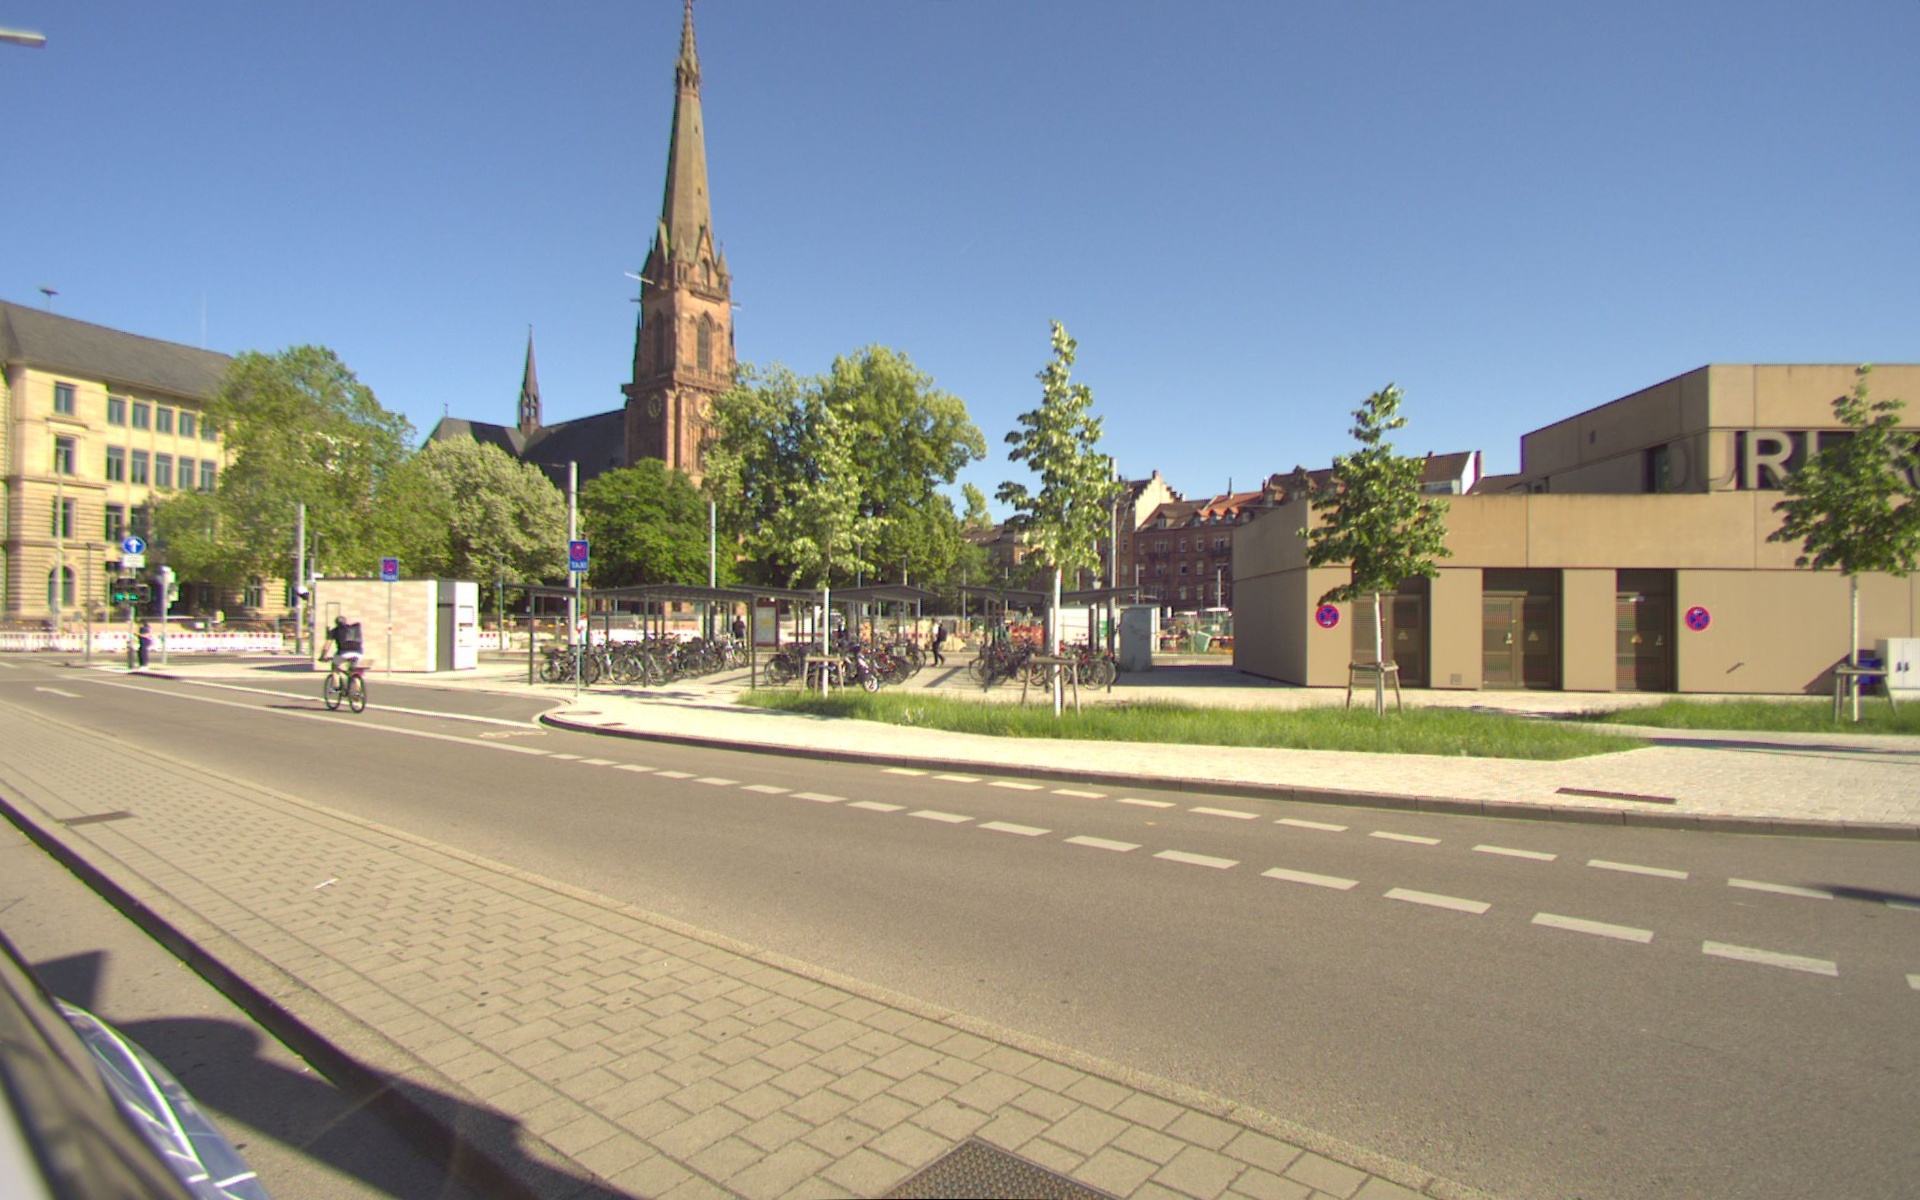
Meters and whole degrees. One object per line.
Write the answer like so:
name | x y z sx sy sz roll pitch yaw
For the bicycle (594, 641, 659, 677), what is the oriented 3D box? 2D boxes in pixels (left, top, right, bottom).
bicycle | -10.069 1.793 30.614 1.764 1.046 0.567 1 -2 3

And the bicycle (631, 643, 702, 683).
bicycle | -8.047 1.730 27.770 1.764 1.046 0.567 1 -2 3

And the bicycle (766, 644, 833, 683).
bicycle | -4.449 1.753 28.090 1.764 1.046 0.567 1 -2 3

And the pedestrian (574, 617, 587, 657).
pedestrian | -17.021 1.674 45.418 0.529 1.736 0.684 -1 -6 -20

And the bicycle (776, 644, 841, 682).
bicycle | -4.382 1.821 29.377 1.764 1.046 0.567 1 -2 3

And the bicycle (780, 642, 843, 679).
bicycle | -4.387 1.795 29.978 1.764 1.046 0.567 1 -2 3

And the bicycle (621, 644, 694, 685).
bicycle | -8.099 1.722 27.159 1.764 1.046 0.567 1 -2 3

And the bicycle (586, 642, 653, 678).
bicycle | -10.077 1.769 29.949 1.764 1.046 0.567 1 -2 3

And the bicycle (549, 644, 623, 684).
bicycle | -10.117 1.719 27.395 1.764 1.046 0.567 1 -2 3

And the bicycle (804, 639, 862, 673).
bicycle | -4.124 1.819 32.938 1.764 1.046 0.567 1 -2 3

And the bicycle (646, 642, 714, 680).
bicycle | -8.003 1.730 28.987 1.764 1.046 0.567 1 -2 3

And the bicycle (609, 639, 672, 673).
bicycle | -10.037 1.752 31.816 1.764 1.046 0.567 1 -2 3

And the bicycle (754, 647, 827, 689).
bicycle | -4.381 1.749 26.215 1.764 1.046 0.567 1 -2 3

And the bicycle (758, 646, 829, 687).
bicycle | -4.392 1.746 26.801 1.764 1.046 0.567 1 -2 3

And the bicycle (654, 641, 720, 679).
bicycle | -7.983 1.746 29.588 1.764 1.046 0.567 1 -2 3

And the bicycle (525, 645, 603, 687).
bicycle | -10.162 1.692 25.987 1.764 1.046 0.567 1 -2 3

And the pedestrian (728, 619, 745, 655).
pedestrian | -10.514 1.742 47.693 0.518 1.667 0.560 -1 0 40

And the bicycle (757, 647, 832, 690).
bicycle | -4.184 1.720 25.622 1.764 1.046 0.567 1 -2 3

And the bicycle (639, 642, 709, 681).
bicycle | -8.009 1.727 28.371 1.764 1.046 0.567 1 -2 3

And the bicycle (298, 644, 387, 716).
bicycle | -10.810 1.369 17.704 1.869 1.174 0.738 -1 -3 40

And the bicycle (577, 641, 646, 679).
bicycle | -10.092 1.731 29.333 1.764 1.046 0.567 1 -2 3

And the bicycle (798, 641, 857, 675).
bicycle | -4.208 1.826 32.171 1.764 1.046 0.567 1 -2 3

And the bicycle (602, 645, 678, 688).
bicycle | -8.171 1.698 25.867 1.764 1.046 0.567 1 -2 3

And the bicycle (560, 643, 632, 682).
bicycle | -10.093 1.728 28.083 1.764 1.046 0.567 1 -2 3

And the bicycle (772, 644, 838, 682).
bicycle | -4.410 1.784 28.763 1.764 1.046 0.567 1 -2 3

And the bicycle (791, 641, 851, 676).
bicycle | -4.303 1.815 31.445 1.764 1.046 0.567 1 -2 3

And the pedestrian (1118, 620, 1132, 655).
pedestrian | 7.220 1.648 44.276 0.581 1.530 0.560 0 -2 5

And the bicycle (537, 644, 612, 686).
bicycle | -10.138 1.702 26.639 1.764 1.046 0.567 1 -2 3

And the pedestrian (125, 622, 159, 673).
pedestrian | -27.965 1.625 34.605 0.648 1.693 0.779 -1 0 41

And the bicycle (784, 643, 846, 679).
bicycle | -4.381 1.846 30.571 1.764 1.046 0.567 1 -2 3

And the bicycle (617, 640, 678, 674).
bicycle | -10.003 1.812 32.406 1.764 1.046 0.567 1 -2 3

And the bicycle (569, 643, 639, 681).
bicycle | -10.087 1.746 28.715 1.764 1.046 0.567 1 -2 3

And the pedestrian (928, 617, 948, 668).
pedestrian | -0.742 1.452 34.542 0.672 1.736 0.617 0 -1 1
